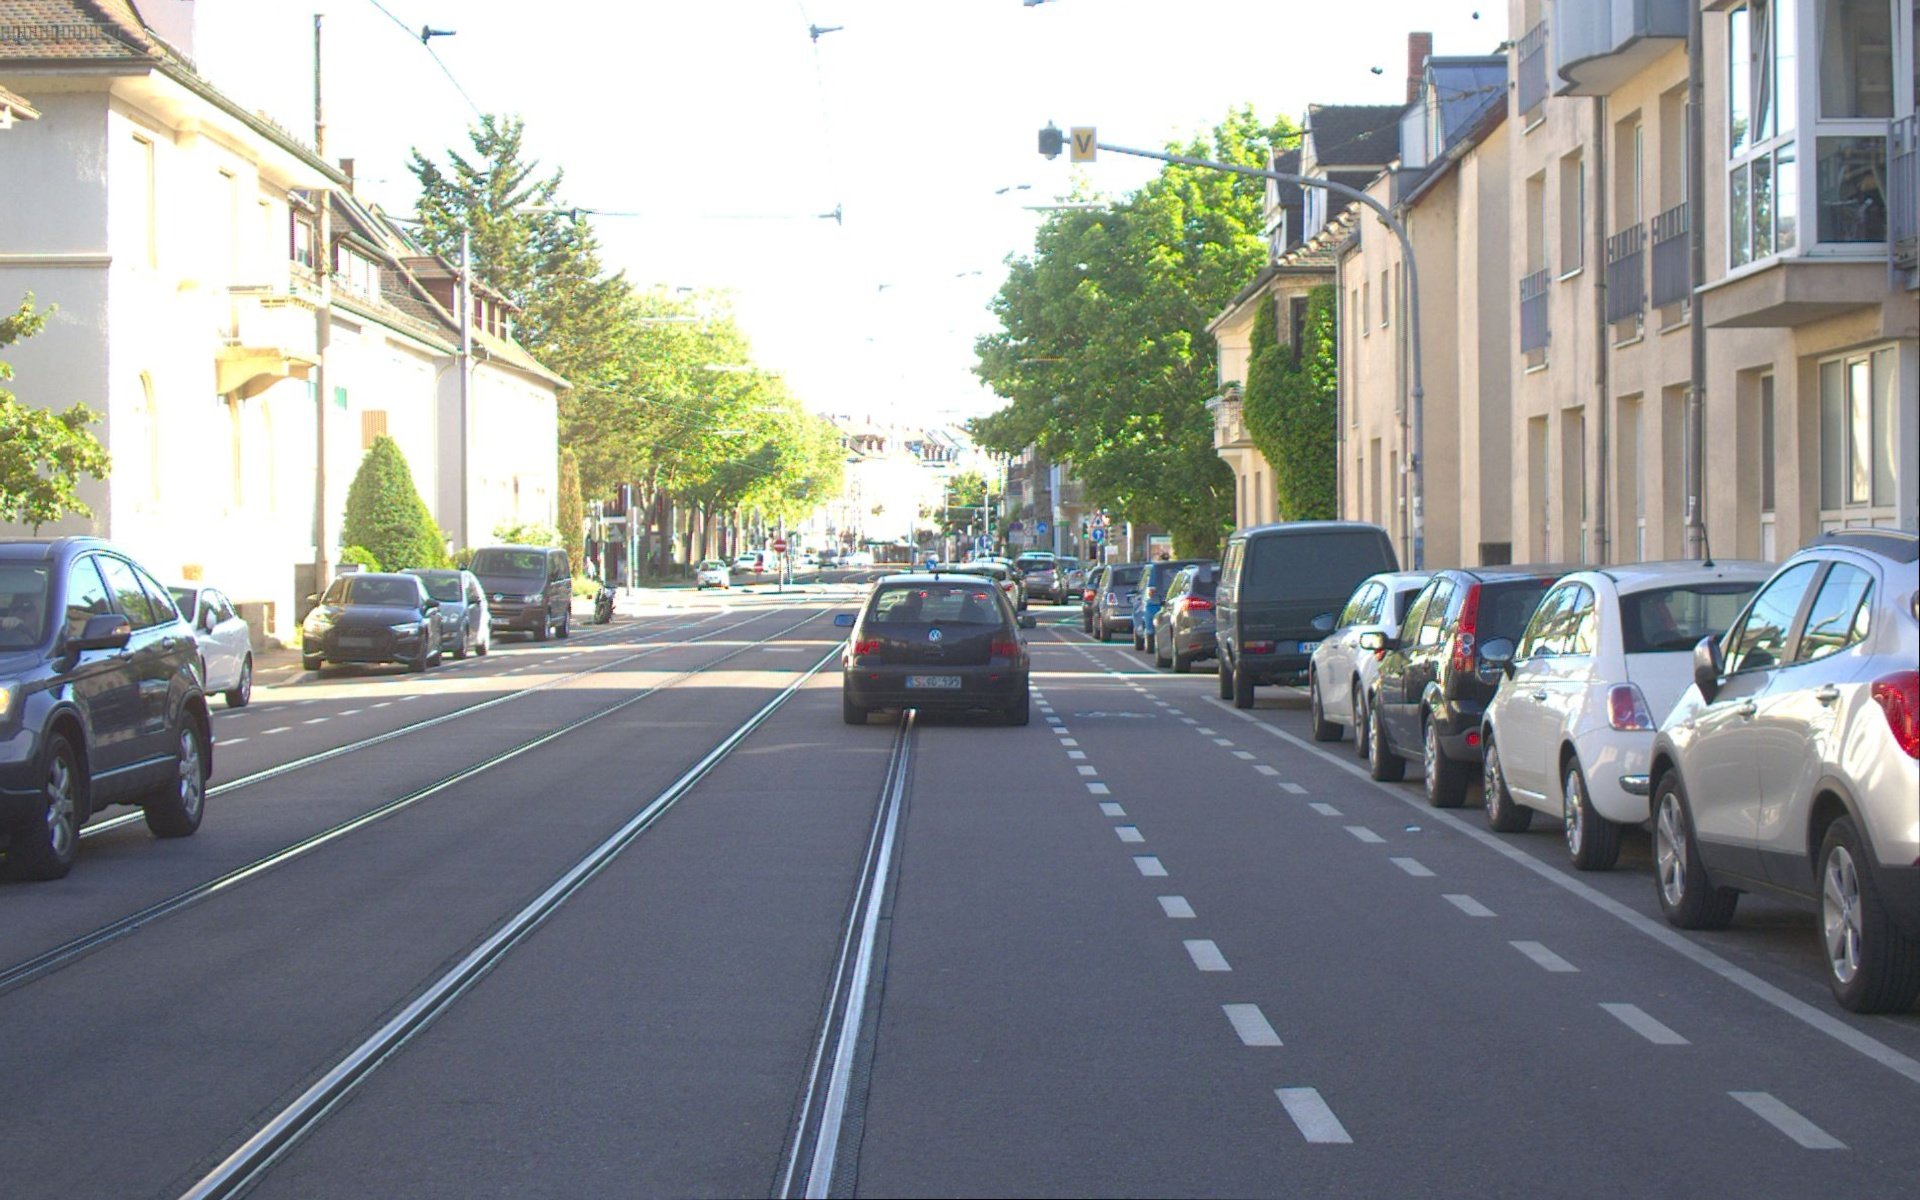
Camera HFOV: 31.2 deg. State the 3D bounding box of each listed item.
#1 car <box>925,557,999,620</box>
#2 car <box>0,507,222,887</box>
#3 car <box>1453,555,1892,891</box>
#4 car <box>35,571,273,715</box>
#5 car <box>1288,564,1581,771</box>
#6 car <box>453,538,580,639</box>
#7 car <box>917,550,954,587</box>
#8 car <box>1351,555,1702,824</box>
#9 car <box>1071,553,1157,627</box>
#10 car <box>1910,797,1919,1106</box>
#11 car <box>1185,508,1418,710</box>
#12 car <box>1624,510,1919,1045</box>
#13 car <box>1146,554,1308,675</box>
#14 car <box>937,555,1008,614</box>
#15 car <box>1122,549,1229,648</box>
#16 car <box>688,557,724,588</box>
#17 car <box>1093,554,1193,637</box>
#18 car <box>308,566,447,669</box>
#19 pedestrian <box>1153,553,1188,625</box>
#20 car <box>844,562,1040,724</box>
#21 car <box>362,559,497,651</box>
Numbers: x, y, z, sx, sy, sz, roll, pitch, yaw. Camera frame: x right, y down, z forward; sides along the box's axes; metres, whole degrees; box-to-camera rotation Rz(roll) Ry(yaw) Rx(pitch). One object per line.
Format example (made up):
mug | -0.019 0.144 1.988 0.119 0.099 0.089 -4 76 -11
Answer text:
car | 0.059 -0.274 77.313 1.634 1.368 3.757 0 1 1
car | -5.105 0.432 17.560 1.703 1.699 4.364 -1 0 0
car | 3.629 0.564 18.018 1.496 1.552 3.365 2 1 -1
car | -8.738 0.427 37.554 1.631 1.452 4.016 -1 0 0
car | 3.754 0.486 27.847 1.677 1.486 4.173 2 1 -1
car | -9.332 -0.265 72.632 1.906 2.007 4.949 2 1 1
car | -1.304 -1.687 181.293 1.787 1.853 4.000 3 1 -2
car | 3.570 0.507 22.227 1.554 1.552 3.652 2 1 -1
car | 3.365 -0.227 75.669 1.665 1.558 3.771 1 0 0
car | 3.613 0.617 7.690 1.739 1.740 4.256 2 1 0
car | 3.599 0.058 36.989 1.905 1.980 4.563 2 1 -1
car | 3.739 0.558 12.902 1.602 1.694 3.990 2 1 -1
car | 3.738 0.168 48.789 1.744 1.593 4.434 2 1 -2
car | 0.301 -0.409 85.978 1.740 1.436 3.809 0 1 0
car | 3.642 -0.047 58.633 1.457 1.593 3.294 2 1 -2
car | -12.337 -1.355 166.885 1.575 1.472 3.441 -1 1 -6
car | 3.545 -0.105 67.024 1.601 1.520 3.549 2 1 -2
car | -8.756 0.236 51.967 1.662 1.472 4.251 0 1 -4
pedestrian | 4.954 -0.266 80.985 0.717 1.682 0.870 -1 1 -1
car | -0.164 0.359 32.513 1.716 1.398 4.006 1 1 0
car | -9.020 0.060 58.719 1.676 1.472 3.835 2 1 0
